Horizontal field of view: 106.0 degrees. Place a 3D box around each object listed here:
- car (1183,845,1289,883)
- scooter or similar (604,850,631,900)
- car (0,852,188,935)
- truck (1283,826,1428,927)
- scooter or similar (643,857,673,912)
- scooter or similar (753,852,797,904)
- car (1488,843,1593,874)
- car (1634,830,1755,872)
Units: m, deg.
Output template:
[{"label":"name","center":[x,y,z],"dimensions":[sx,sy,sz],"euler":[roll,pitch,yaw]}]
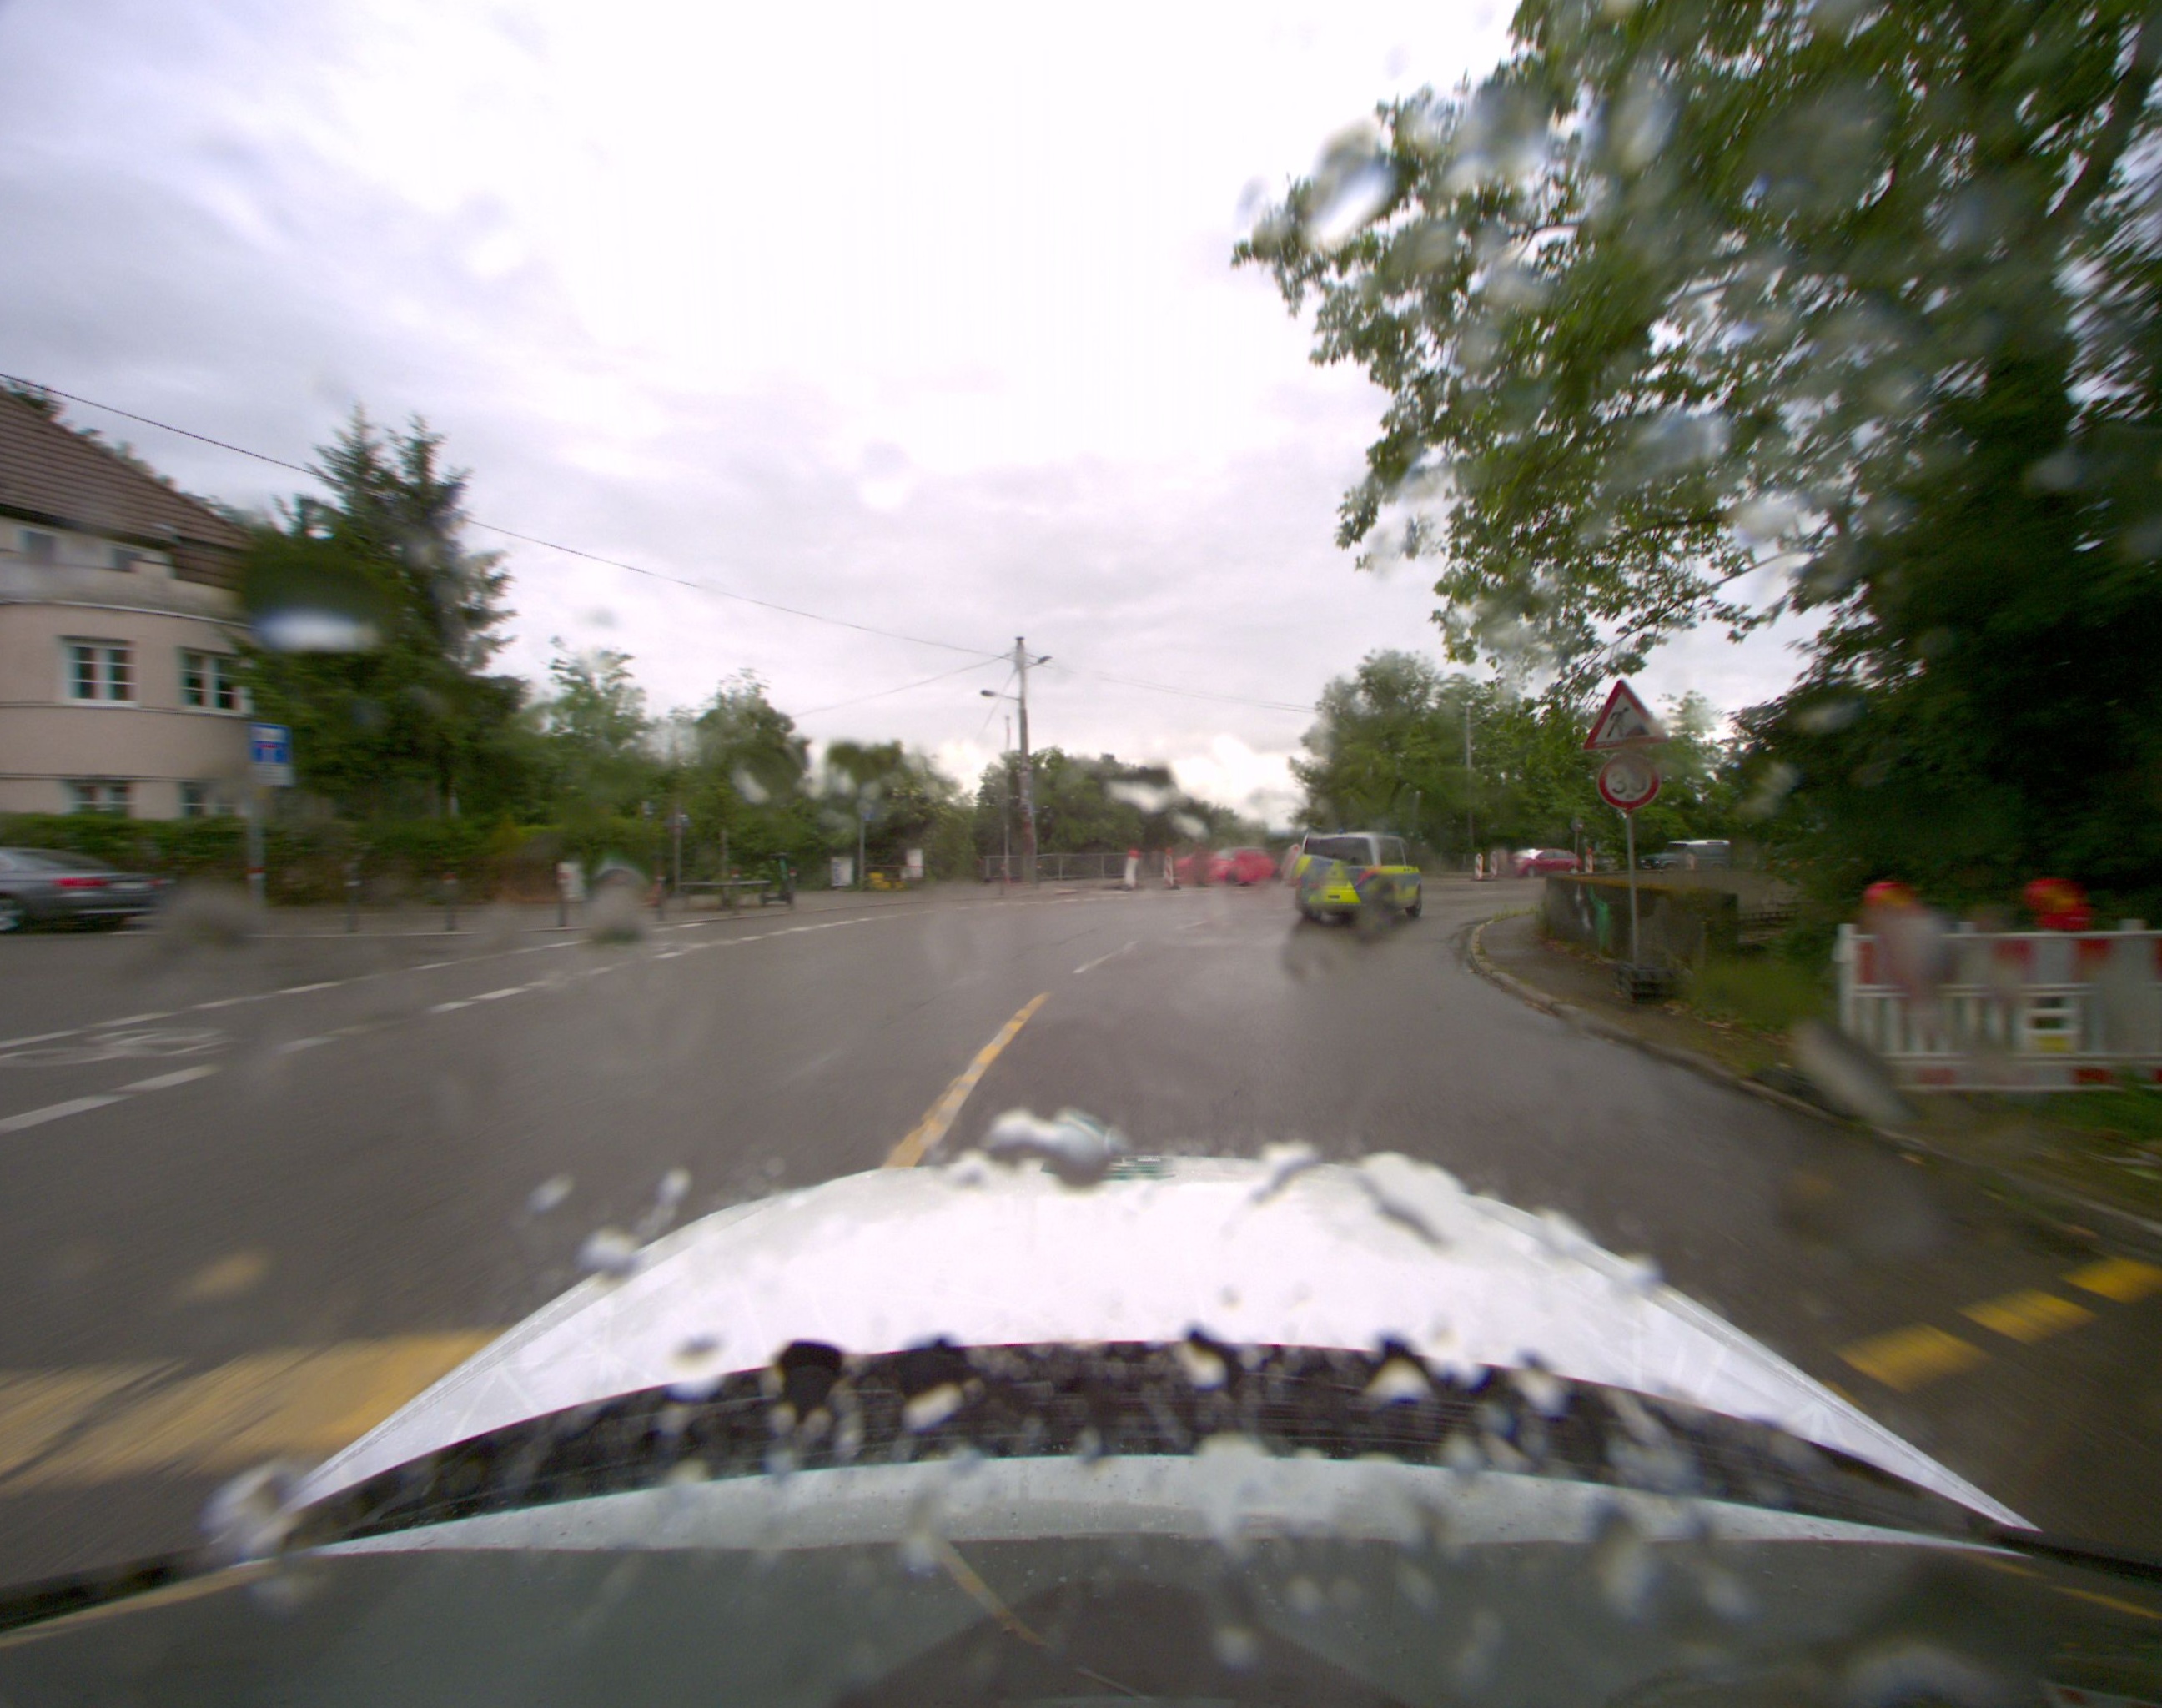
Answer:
[{"label":"car","center":[6.060,0.374,31.570],"dimensions":[4.155,1.398,1.672],"euler":[0,0,-37]},{"label":"scooter or similar","center":[-10.097,0.445,17.715],"dimensions":[0.245,1.069,1.024],"euler":[1,0,-45]},{"label":"car","center":[-17.752,0.607,13.173],"dimensions":[4.196,1.266,1.667],"euler":[1,0,-15]},{"label":"truck","center":[6.422,0.439,18.681],"dimensions":[1.974,2.013,4.764],"euler":[1,0,33]},{"label":"scooter or similar","center":[-9.319,0.650,17.929],"dimensions":[1.024,1.164,0.245],"euler":[1,0,43]},{"label":"scooter or similar","center":[-7.404,0.578,19.697],"dimensions":[1.026,1.218,0.244],"euler":[1,0,15]},{"label":"car","center":[22.638,0.182,40.203],"dimensions":[4.312,1.439,1.959],"euler":[0,2,-13]},{"label":"car","center":[31.060,-0.156,41.318],"dimensions":[4.785,2.013,1.871],"euler":[0,3,-2]}]
